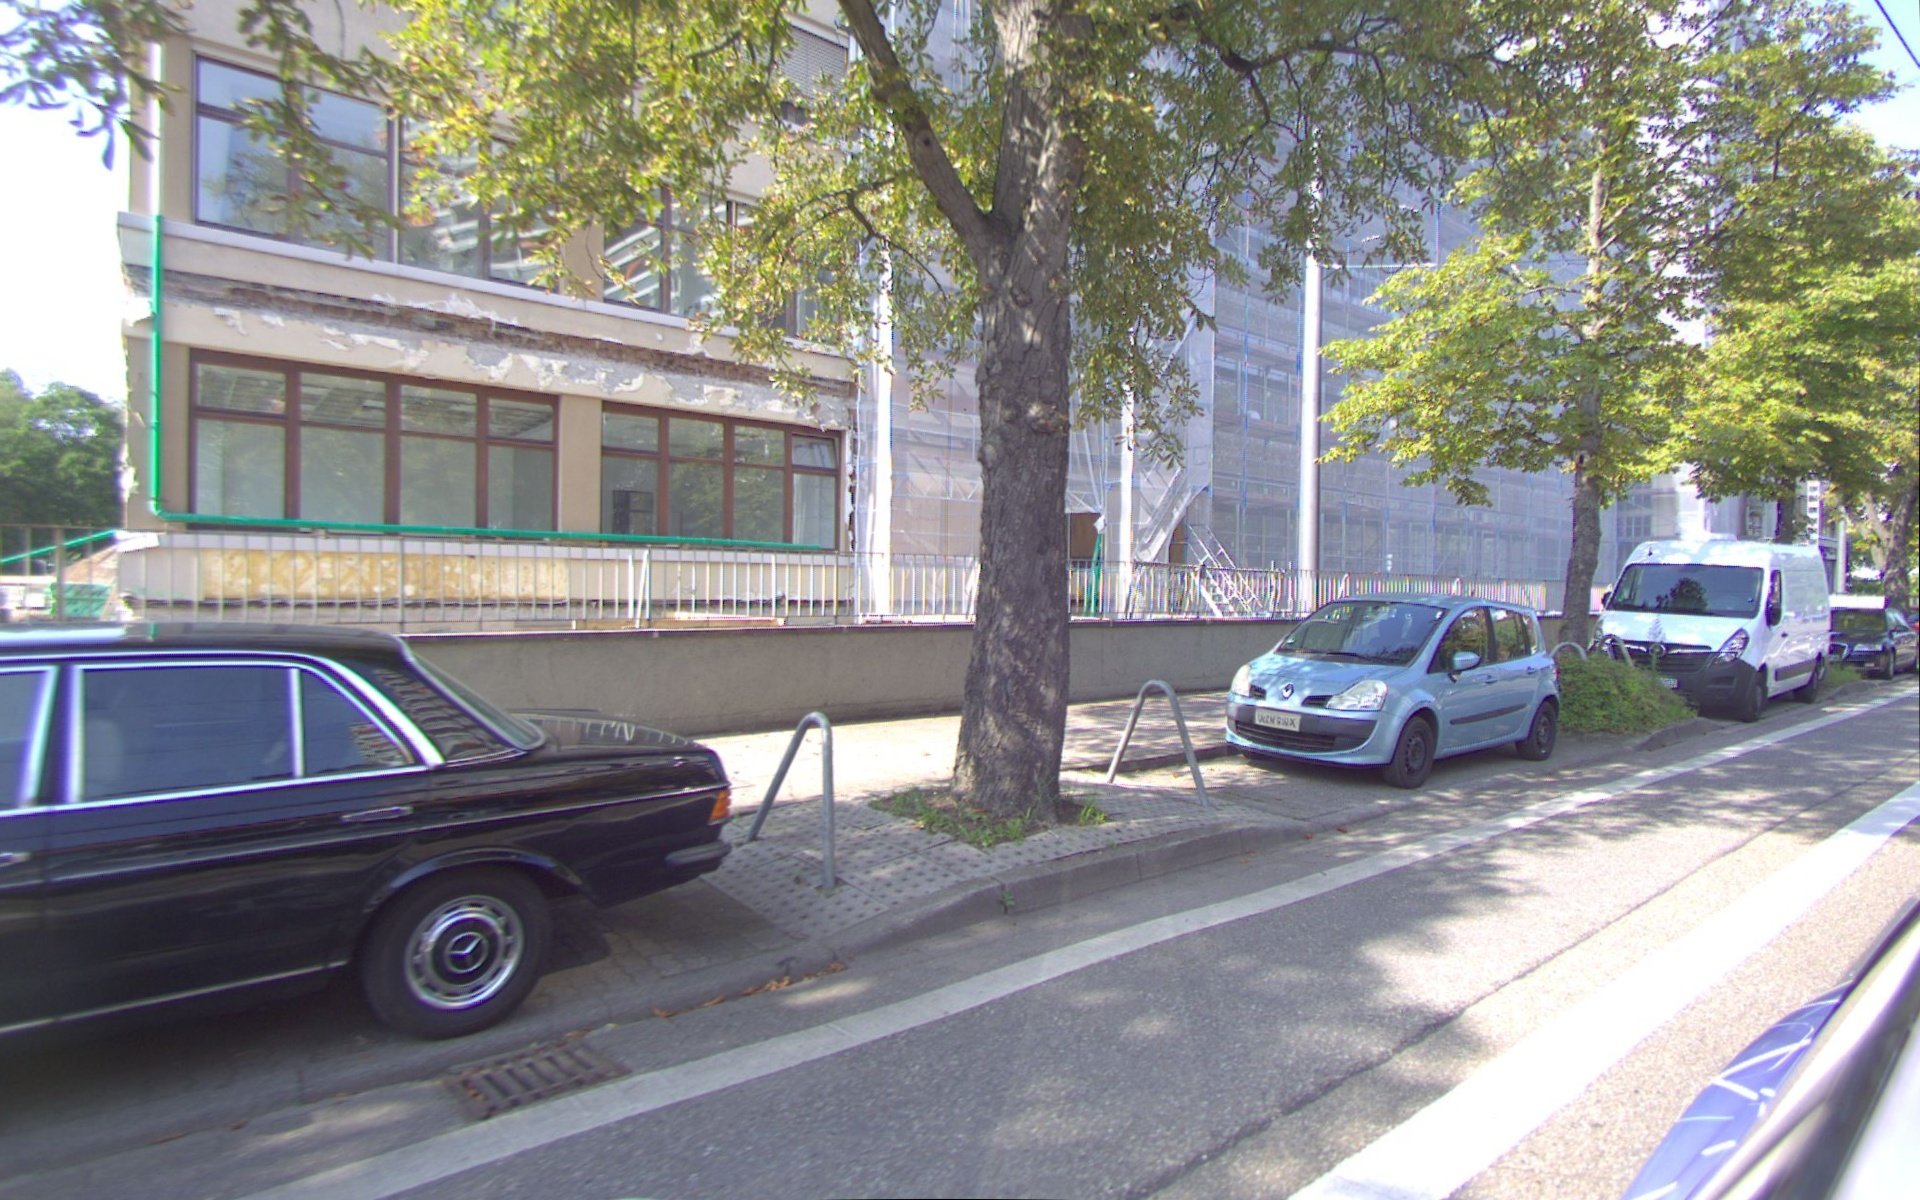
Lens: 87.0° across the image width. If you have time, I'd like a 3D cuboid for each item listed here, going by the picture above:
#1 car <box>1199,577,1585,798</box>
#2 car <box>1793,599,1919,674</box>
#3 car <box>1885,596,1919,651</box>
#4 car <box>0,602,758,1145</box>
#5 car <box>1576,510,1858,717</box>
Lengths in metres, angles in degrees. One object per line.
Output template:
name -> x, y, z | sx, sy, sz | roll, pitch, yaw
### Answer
car -> 4.143, 0.671, 9.477 | 3.806, 1.637, 1.669 | 1, 1, -38
car -> 19.275, 0.700, 21.353 | 4.739, 1.391, 1.621 | 0, 1, -38
car -> 27.226, 0.643, 28.114 | 3.927, 1.431, 1.621 | 0, 1, -38
car -> -3.186, 0.745, 3.383 | 4.633, 1.394, 1.758 | 0, 2, -39
car -> 11.508, 0.103, 15.225 | 5.404, 2.583, 2.088 | 0, 4, -40
